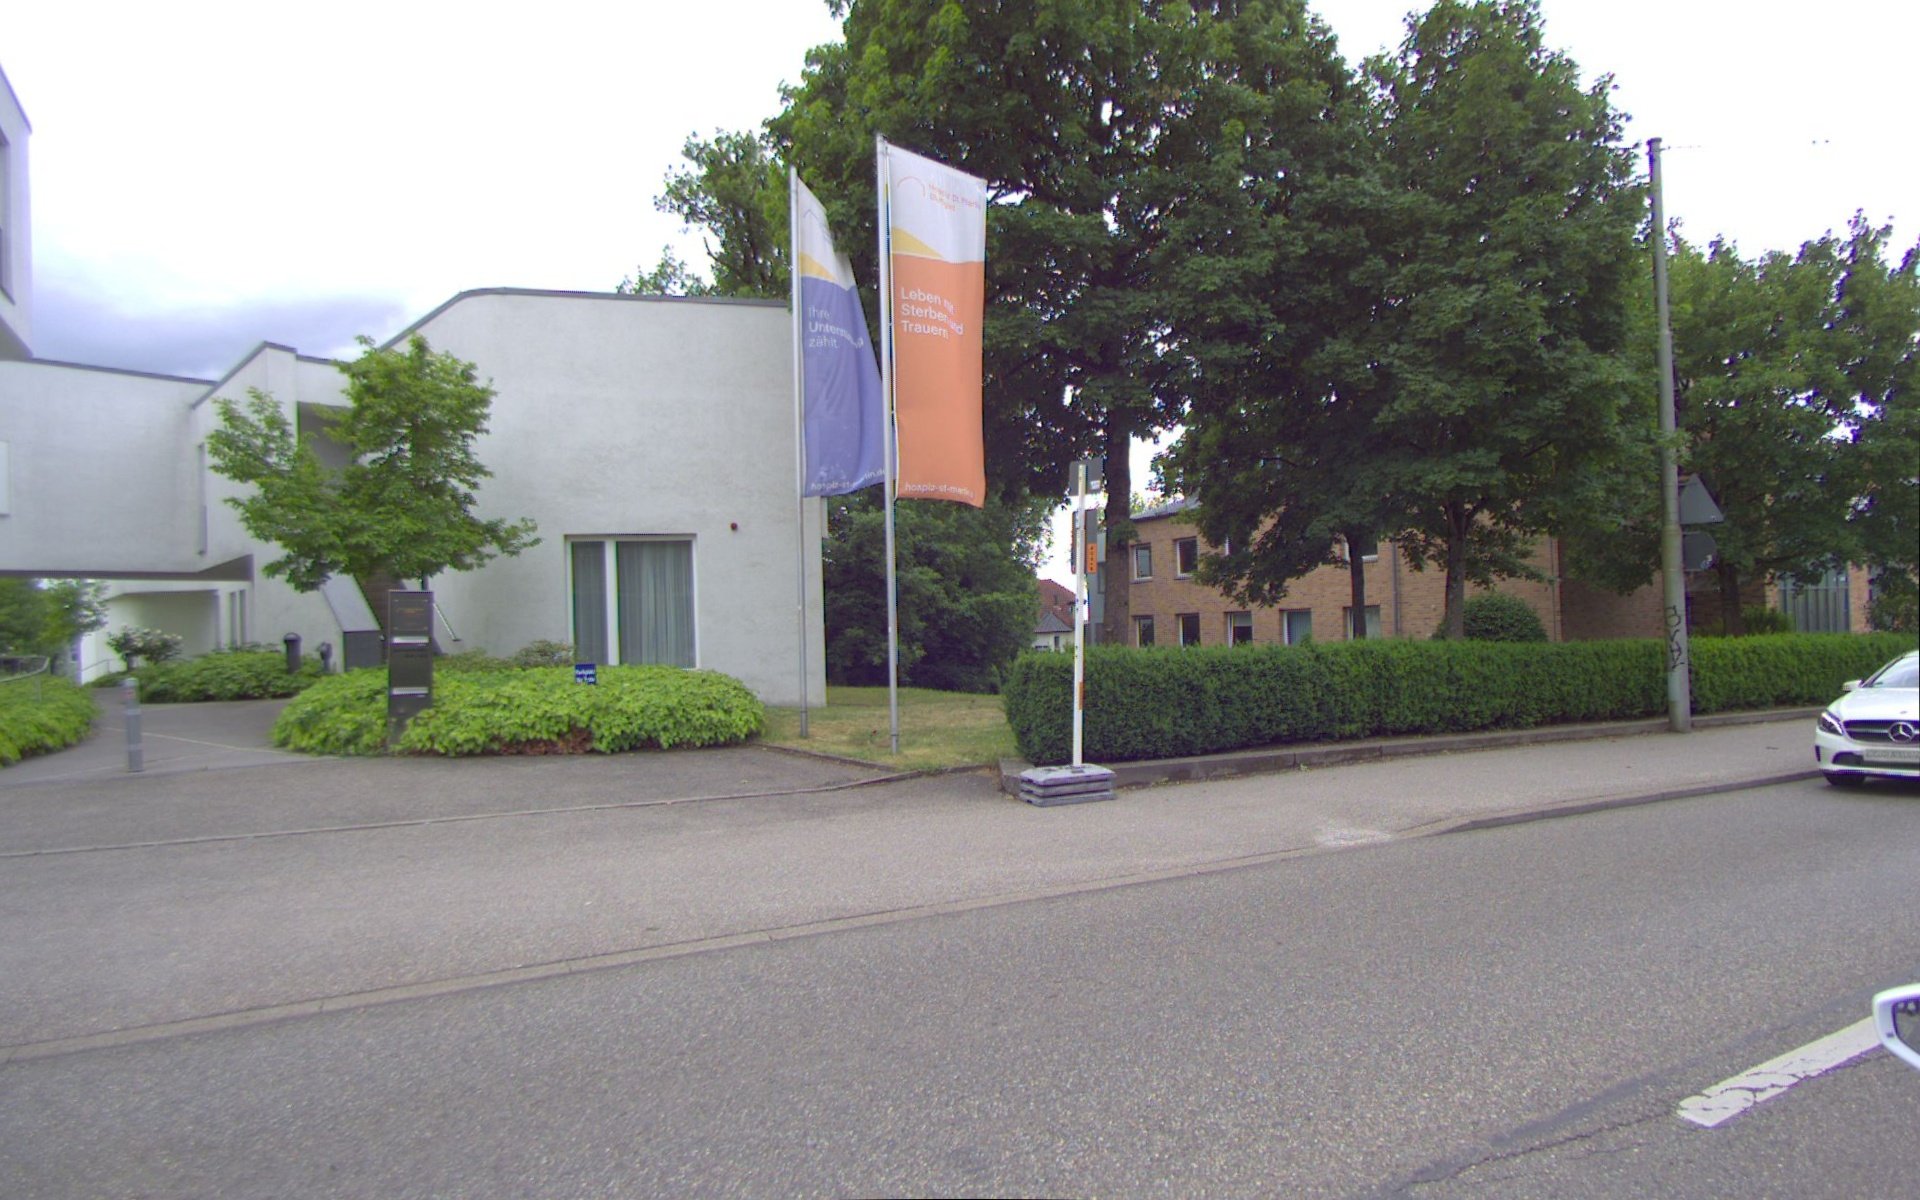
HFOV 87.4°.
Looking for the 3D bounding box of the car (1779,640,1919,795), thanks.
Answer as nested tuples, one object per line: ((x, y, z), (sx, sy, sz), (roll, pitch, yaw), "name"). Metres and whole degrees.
((10.556, 1.138, 10.470), (4.017, 1.440, 1.759), (1, -4, -30), "car")
